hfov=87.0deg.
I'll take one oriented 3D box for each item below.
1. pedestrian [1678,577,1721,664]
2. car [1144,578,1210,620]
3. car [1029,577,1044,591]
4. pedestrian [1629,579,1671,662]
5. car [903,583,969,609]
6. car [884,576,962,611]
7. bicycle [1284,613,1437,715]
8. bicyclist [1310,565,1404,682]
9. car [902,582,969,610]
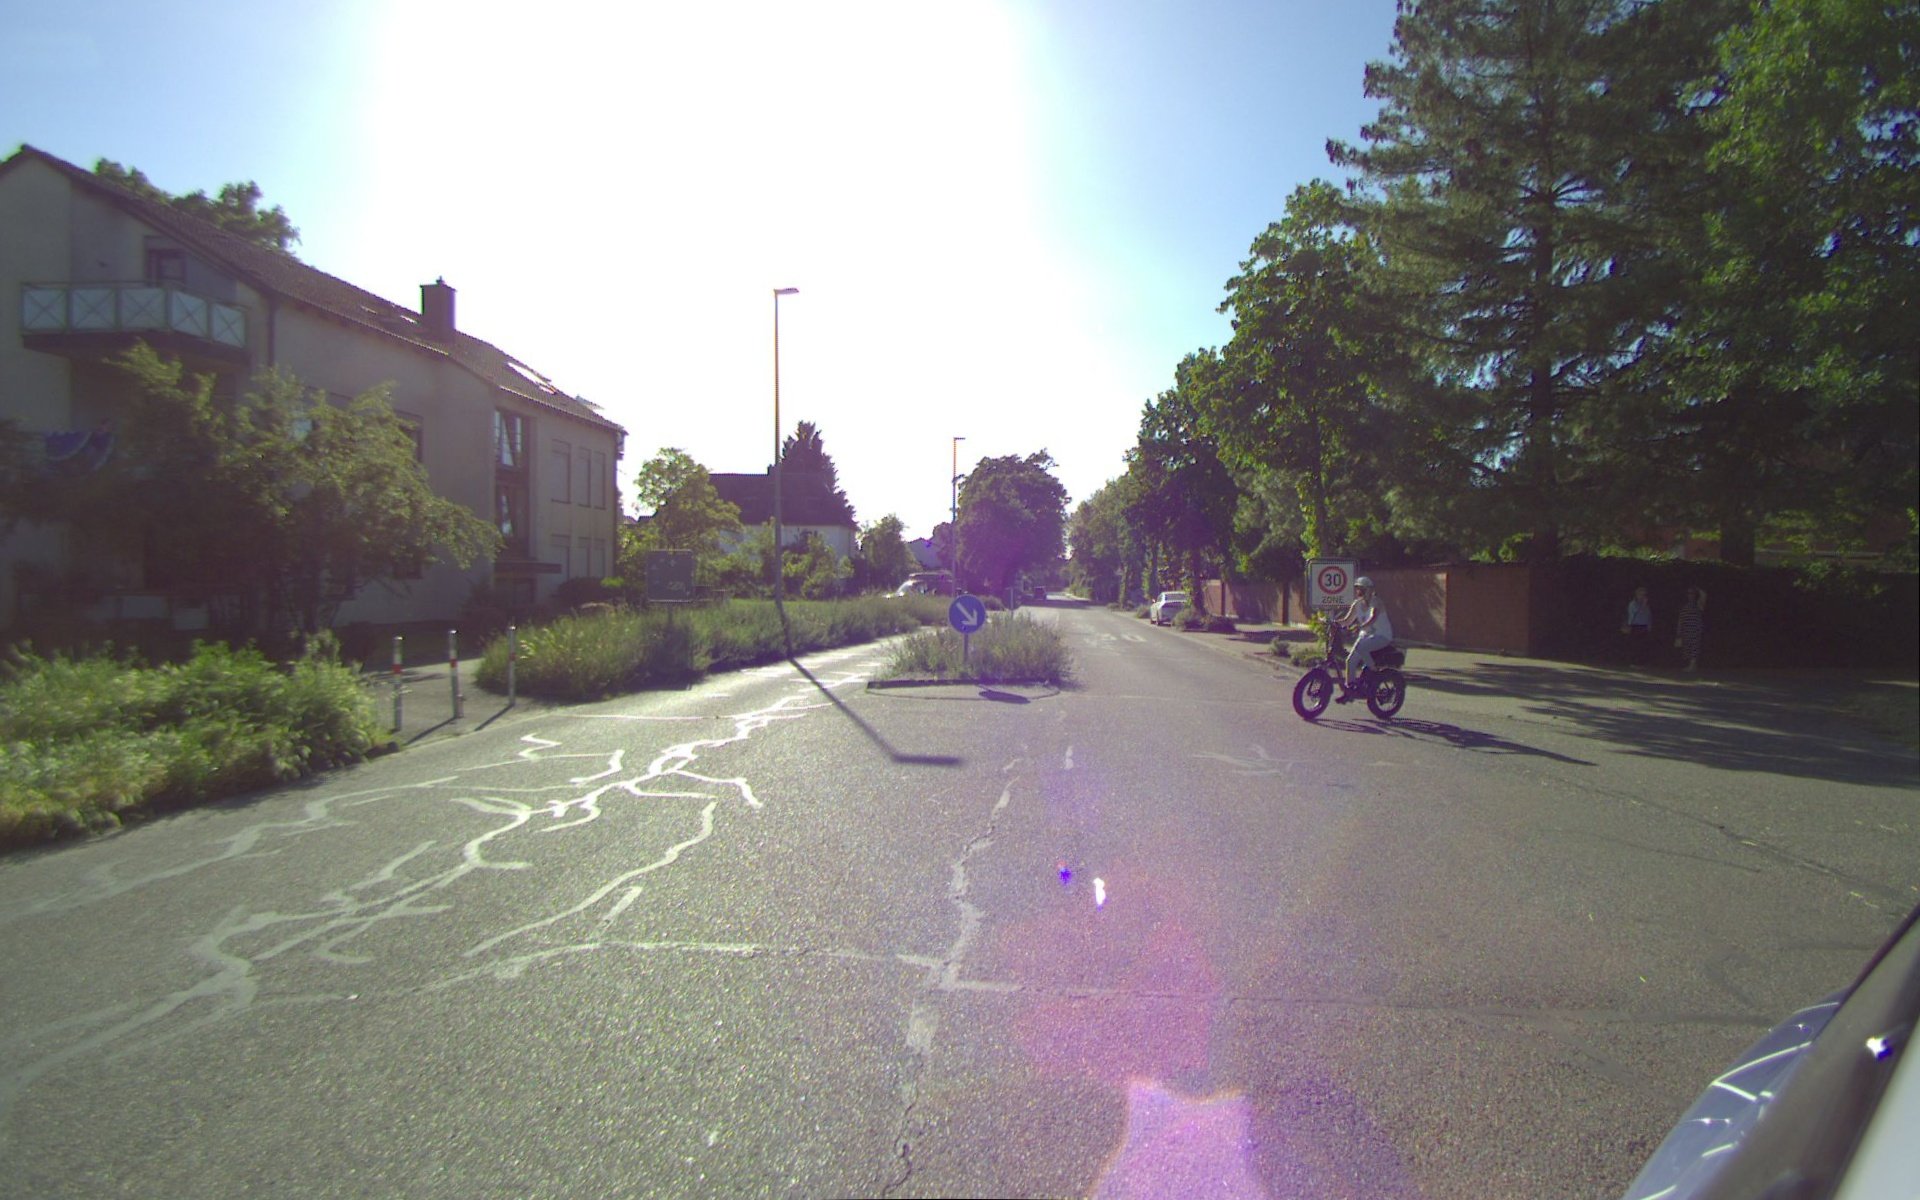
[{"bbox_3d":[13.748,0.364,18.819,0.389,1.580,0.537,1,2,8],"label":"pedestrian"},{"bbox_3d":[9.242,-0.068,43.480,1.962,1.679,4.001,0,1,0],"label":"car"},{"bbox_3d":[10.870,-2.258,142.902,1.965,1.838,3.994,1,1,6],"label":"car"},{"bbox_3d":[13.028,0.377,19.103,0.527,1.539,0.397,0,1,-18],"label":"pedestrian"},{"bbox_3d":[-1.389,-0.262,57.943,3.461,1.434,1.684,0,1,-16],"label":"car"},{"bbox_3d":[-1.900,-0.375,52.081,3.577,1.738,1.751,0,1,-30],"label":"car"},{"bbox_3d":[4.846,0.754,12.223,1.858,1.159,0.459,1,1,-20],"label":"bicycle"},{"bbox_3d":[4.774,0.264,12.178,0.821,1.364,0.640,0,1,-20],"label":"bicyclist"},{"bbox_3d":[-1.333,-0.225,55.143,3.323,1.459,1.619,0,1,-16],"label":"car"}]
